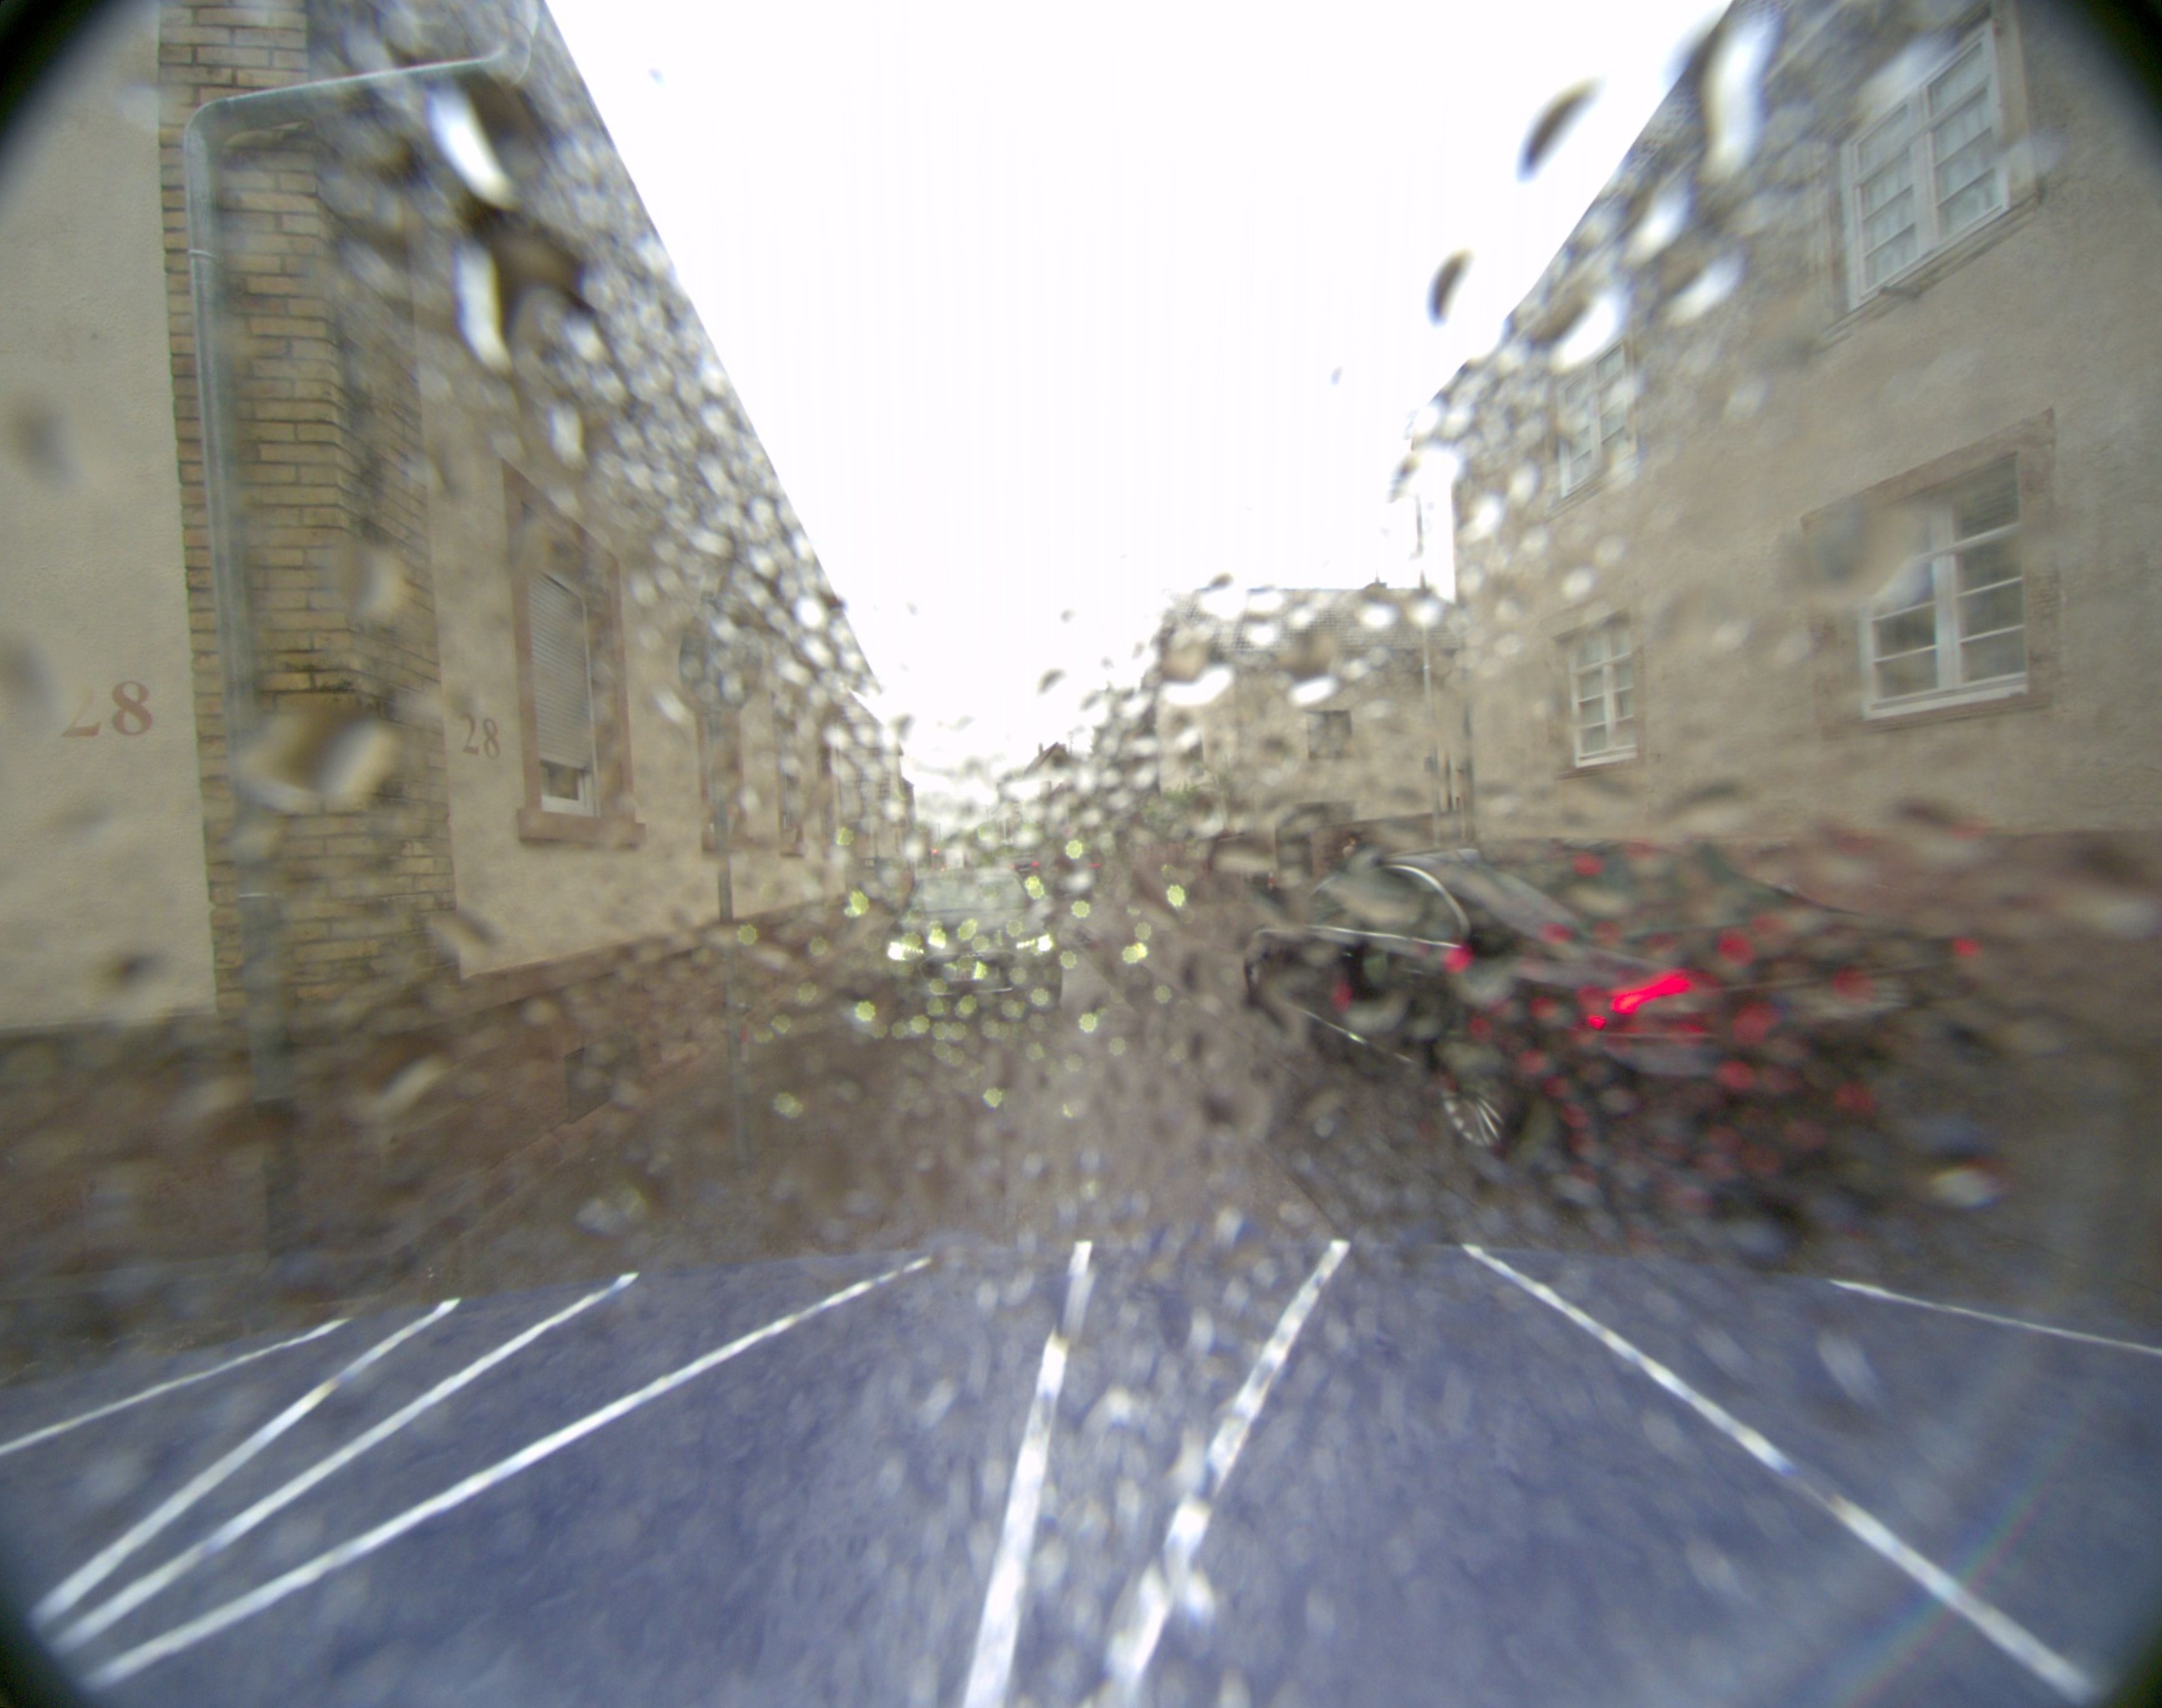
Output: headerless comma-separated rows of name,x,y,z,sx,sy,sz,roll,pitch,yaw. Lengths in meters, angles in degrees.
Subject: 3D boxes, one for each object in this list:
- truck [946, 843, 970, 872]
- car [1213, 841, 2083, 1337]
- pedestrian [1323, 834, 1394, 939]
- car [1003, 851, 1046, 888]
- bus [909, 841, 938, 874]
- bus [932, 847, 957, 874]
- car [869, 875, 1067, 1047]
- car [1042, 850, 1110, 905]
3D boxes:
truck,-11.505,0.278,70.769,2.000,2.490,5.644,-2,1,-11
car,2.352,0.737,4.688,1.701,1.500,4.338,-3,1,-8
pedestrian,4.320,0.487,11.882,0.574,1.529,0.832,-5,1,-12
car,-3.010,0.783,39.878,1.786,1.655,4.422,-5,2,-8
bus,-17.174,0.343,82.830,2.670,3.213,12.178,-2,1,-12
bus,-17.914,0.735,99.432,2.670,3.213,12.178,-2,1,-12
car,-1.333,1.018,8.978,1.740,1.363,4.098,-2,0,-9
car,-0.237,0.719,25.039,1.627,1.502,3.790,-6,1,-8
